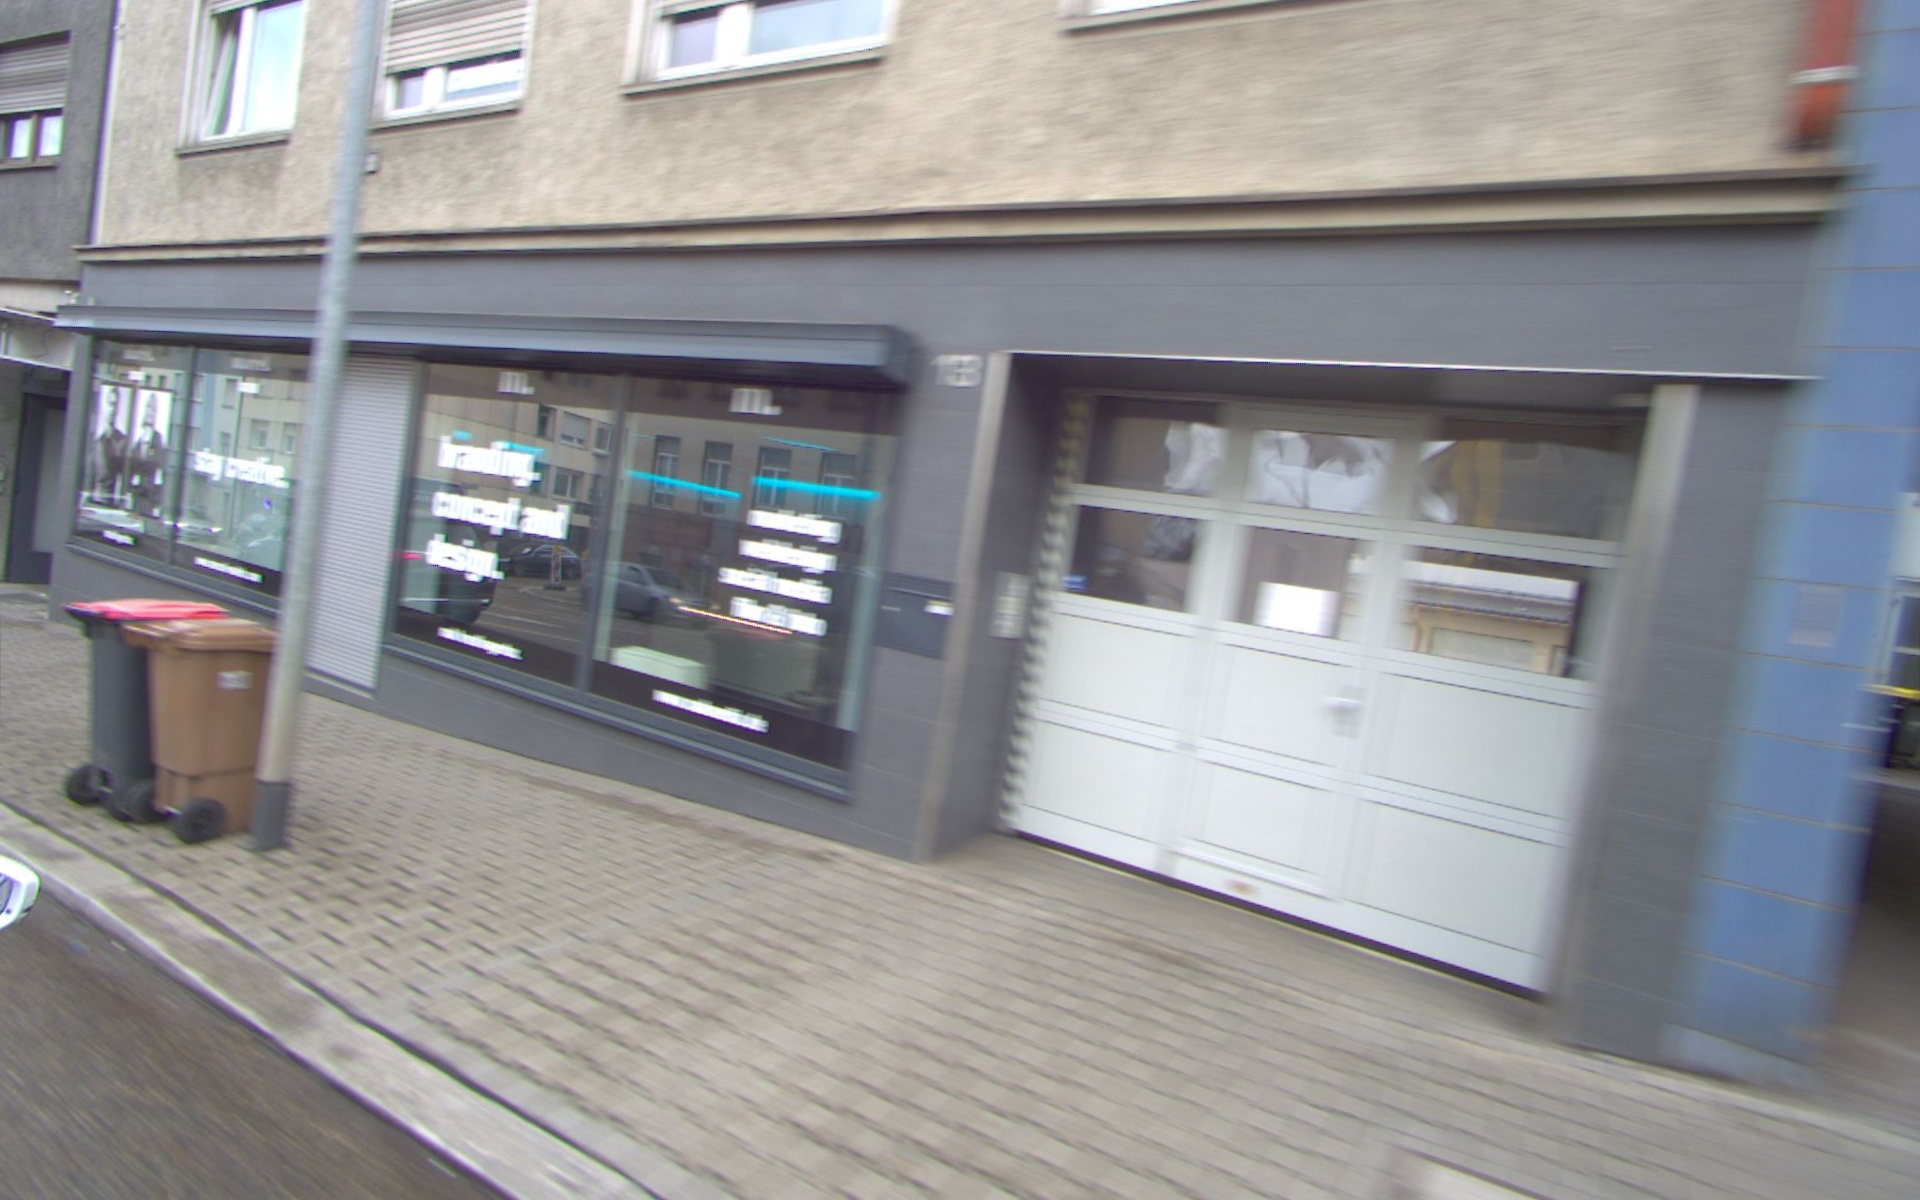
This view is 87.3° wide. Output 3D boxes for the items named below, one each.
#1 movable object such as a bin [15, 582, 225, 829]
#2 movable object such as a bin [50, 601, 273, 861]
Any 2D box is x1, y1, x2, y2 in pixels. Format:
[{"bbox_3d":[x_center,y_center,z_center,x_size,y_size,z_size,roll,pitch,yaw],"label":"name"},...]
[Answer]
[{"bbox_3d":[-3.895,0.473,4.671,0.528,0.993,0.525,12,3,33],"label":"movable object such as a bin"},{"bbox_3d":[-3.447,0.542,4.351,0.528,0.962,0.525,12,3,33],"label":"movable object such as a bin"}]
